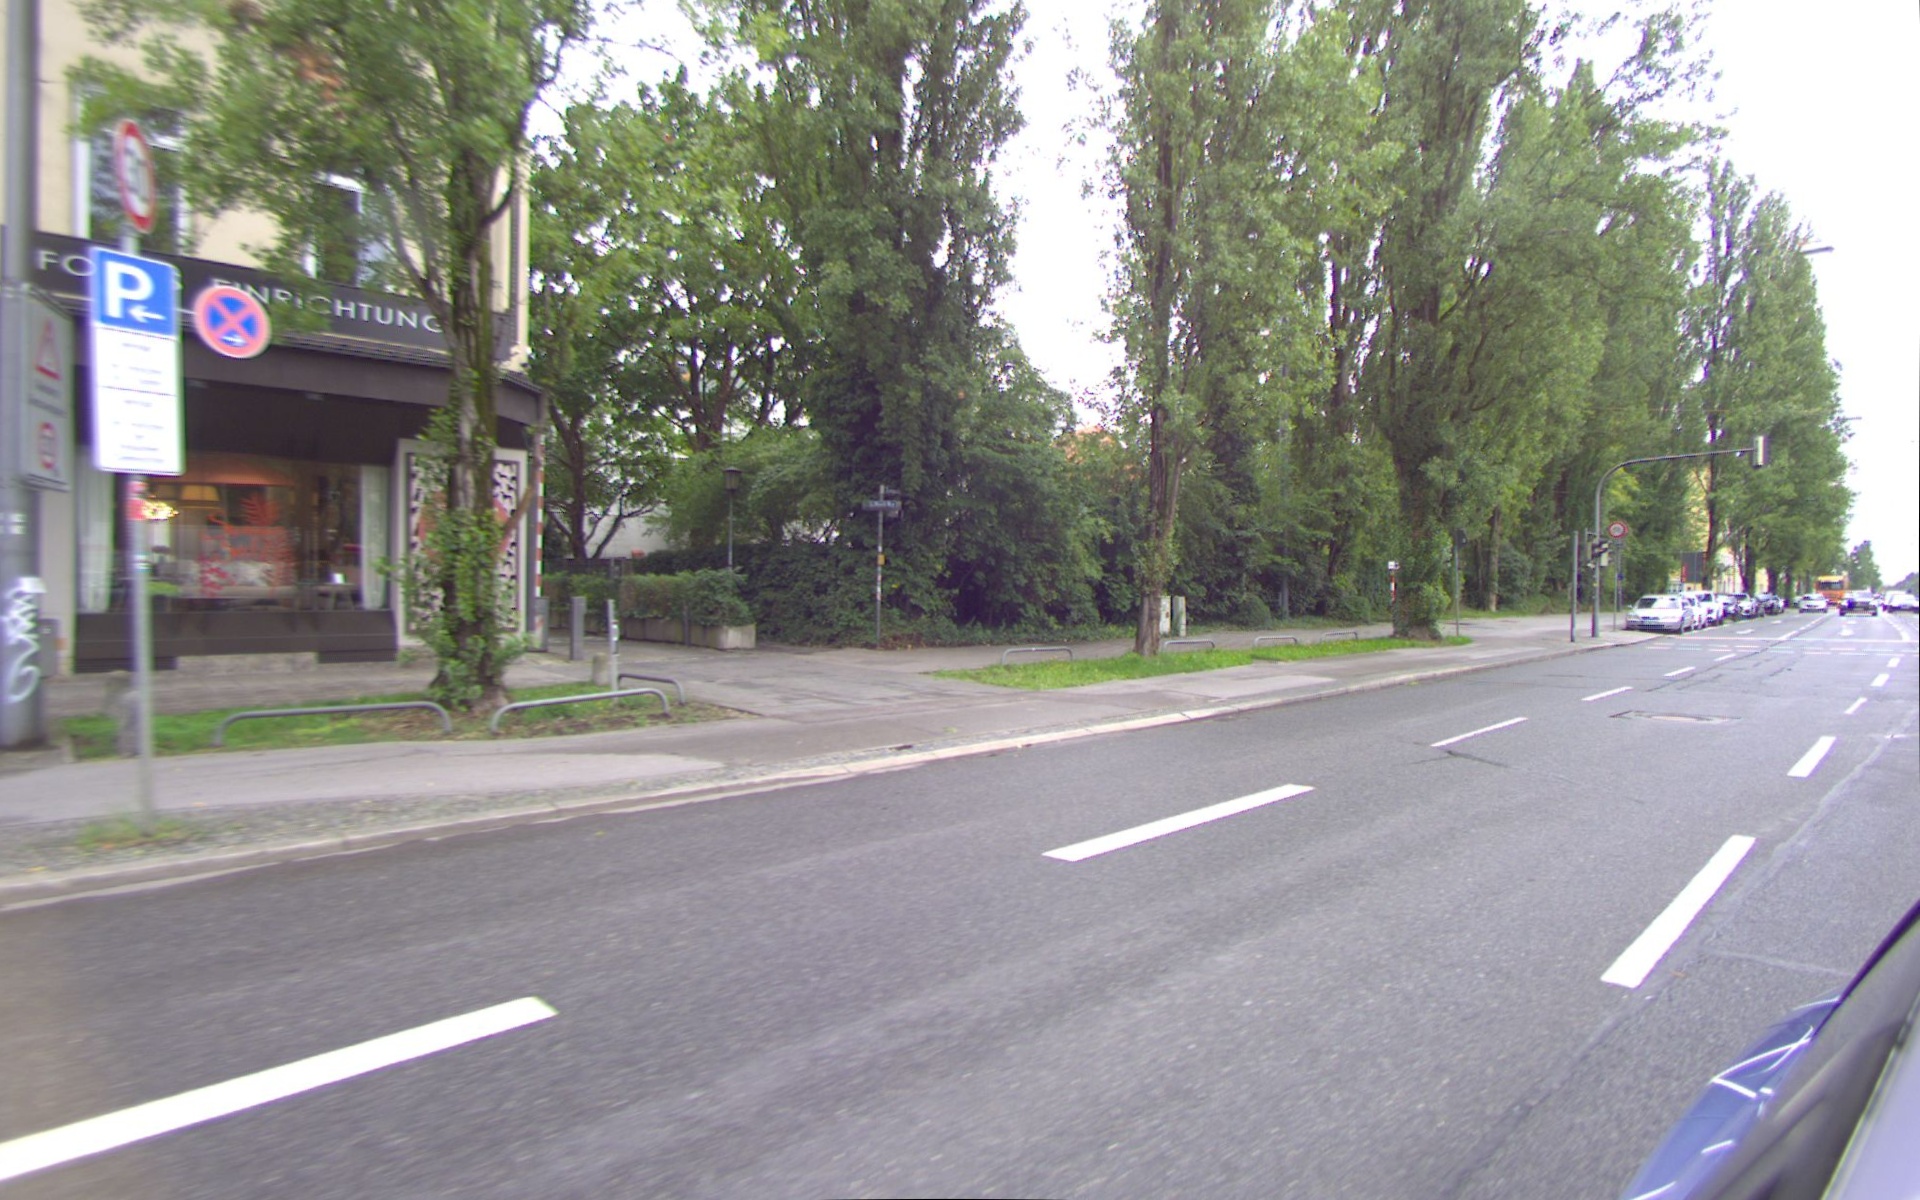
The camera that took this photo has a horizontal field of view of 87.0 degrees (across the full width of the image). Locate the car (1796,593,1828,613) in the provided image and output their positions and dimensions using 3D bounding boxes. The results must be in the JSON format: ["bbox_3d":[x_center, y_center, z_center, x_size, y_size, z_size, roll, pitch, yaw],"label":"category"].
[{"bbox_3d":[70.189,0.223,83.377,1.781,1.504,4.075,1,1,43],"label":"car"}]

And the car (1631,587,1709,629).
[{"bbox_3d":[27.310,0.250,38.892,1.781,1.504,4.283,1,1,45],"label":"car"}]

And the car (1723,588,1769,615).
[{"bbox_3d":[46.346,0.040,59.663,1.781,1.504,4.075,1,1,43],"label":"car"}]

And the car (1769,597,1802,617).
[{"bbox_3d":[65.606,0.523,80.394,1.781,1.504,4.075,1,1,43],"label":"car"}]

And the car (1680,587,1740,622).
[{"bbox_3d":[34.565,0.167,46.614,1.781,1.504,4.075,1,1,43],"label":"car"}]

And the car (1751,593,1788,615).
[{"bbox_3d":[57.615,0.277,72.000,1.781,1.504,4.075,1,1,43],"label":"car"}]

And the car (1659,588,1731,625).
[{"bbox_3d":[31.328,0.233,43.104,4.188,1.504,1.782,-1,1,-44],"label":"car"}]

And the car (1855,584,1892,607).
[{"bbox_3d":[61.826,-0.331,68.496,1.781,1.504,4.075,1,1,43],"label":"car"}]

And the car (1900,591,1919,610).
[{"bbox_3d":[75.902,0.017,80.364,1.781,1.504,4.075,1,1,43],"label":"car"}]

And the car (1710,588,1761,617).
[{"bbox_3d":[41.599,0.106,54.255,1.781,1.504,4.075,1,1,43],"label":"car"}]
